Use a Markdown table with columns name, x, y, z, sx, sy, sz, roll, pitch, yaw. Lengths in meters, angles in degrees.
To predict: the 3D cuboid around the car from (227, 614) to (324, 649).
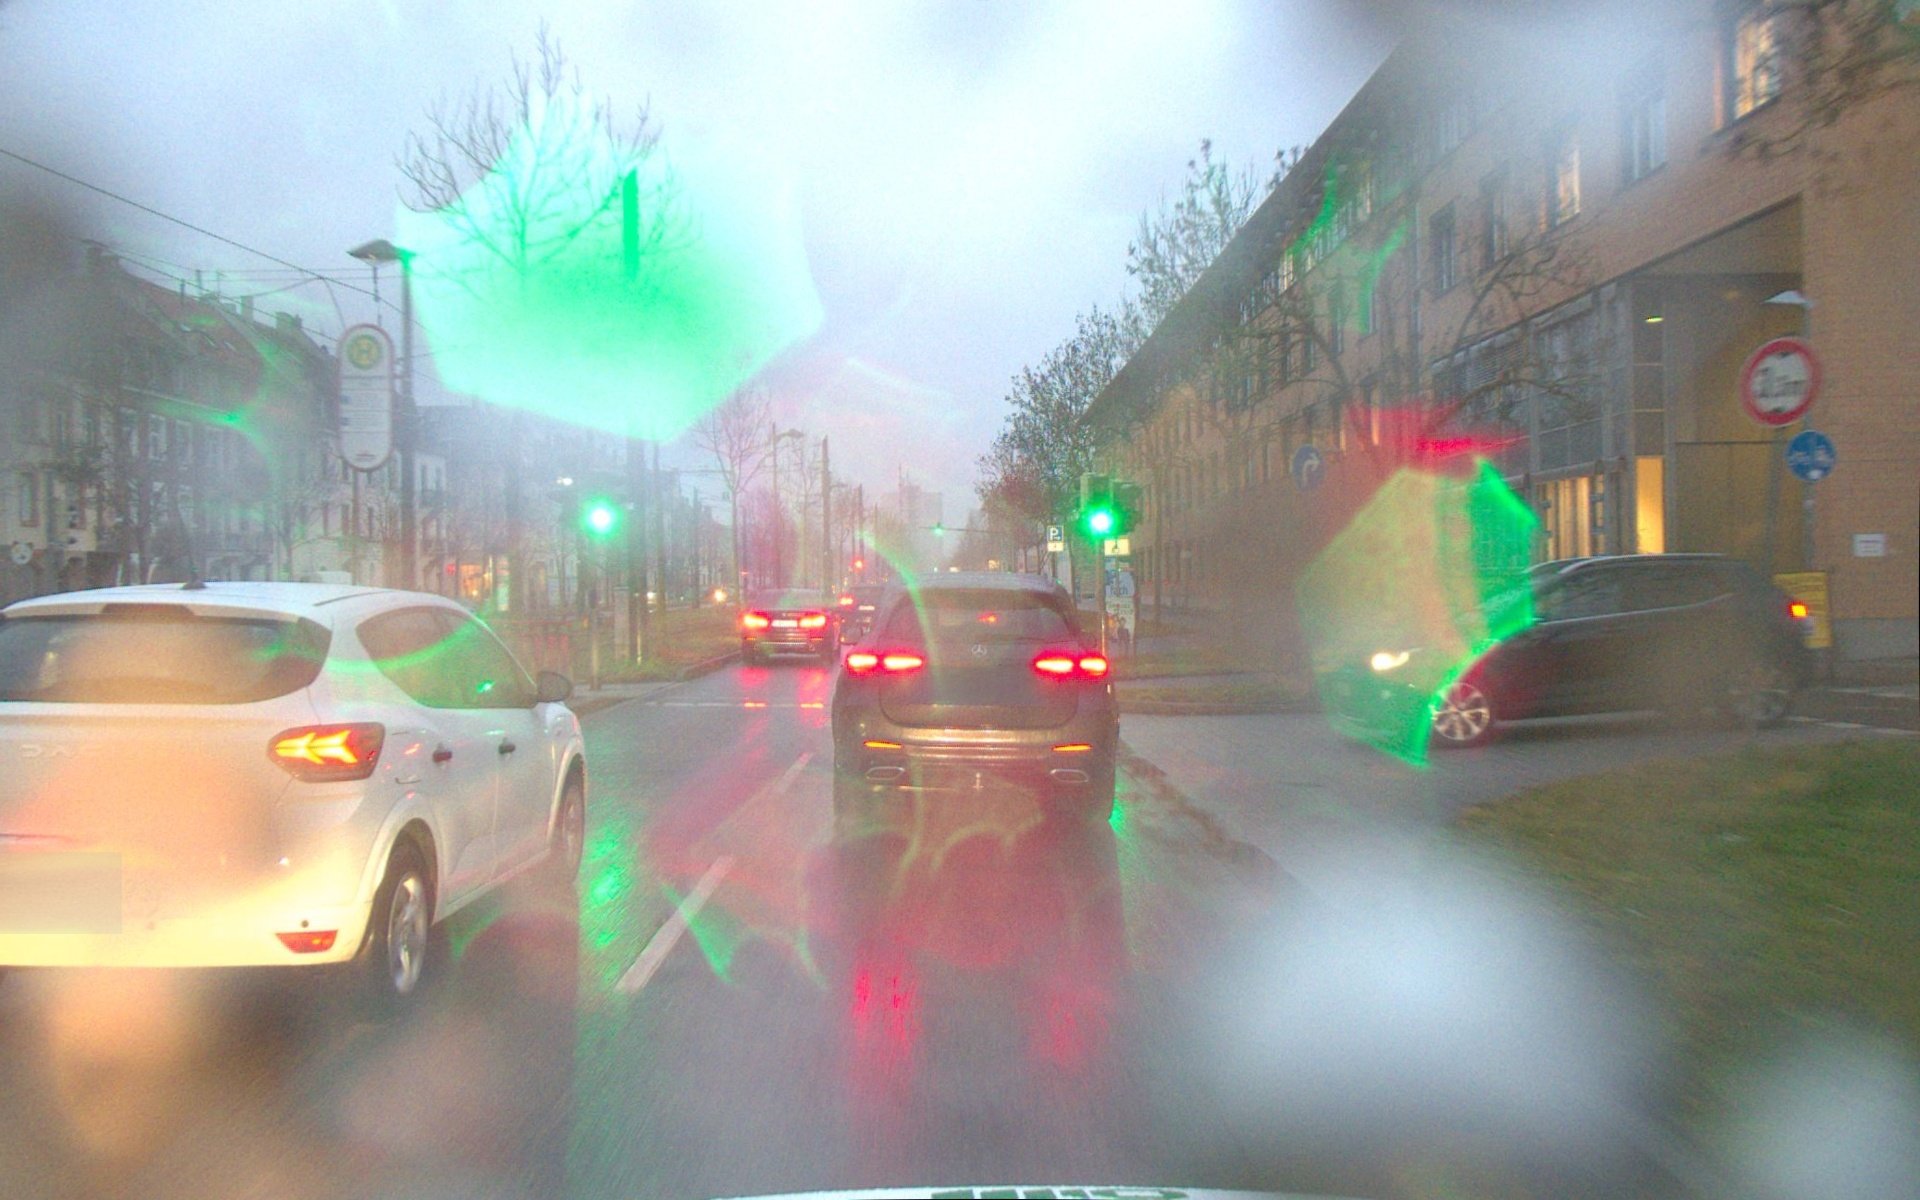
| name | x | y | z | sx | sy | sz | roll | pitch | yaw |
| --- | --- | --- | --- | --- | --- | --- | --- | --- | --- |
| car | -28.305 | 1.297 | 68.388 | 3.921 | 1.355 | 1.992 | -1 | 0 | 37 |

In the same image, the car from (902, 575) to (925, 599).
| name | x | y | z | sx | sy | sz | roll | pitch | yaw |
| --- | --- | --- | --- | --- | --- | --- | --- | --- | --- |
| car | -4.108 | -1.128 | 144.915 | 1.953 | 1.948 | 3.998 | -2 | 1 | -2 |

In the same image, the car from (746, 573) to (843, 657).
| name | x | y | z | sx | sy | sz | roll | pitch | yaw |
| --- | --- | --- | --- | --- | --- | --- | --- | --- | --- |
| car | -3.366 | 0.279 | 34.258 | 1.638 | 1.628 | 4.053 | 0 | 0 | -1 |

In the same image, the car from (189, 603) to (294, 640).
| name | x | y | z | sx | sy | sz | roll | pitch | yaw |
| --- | --- | --- | --- | --- | --- | --- | --- | --- | --- |
| car | -28.319 | 0.837 | 65.190 | 3.917 | 1.355 | 1.994 | -1 | 0 | 34 |

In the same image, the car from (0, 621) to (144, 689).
| name | x | y | z | sx | sy | sz | roll | pitch | yaw |
| --- | --- | --- | --- | --- | --- | --- | --- | --- | --- |
| car | -22.486 | 1.344 | 41.380 | 1.826 | 1.478 | 4.699 | -2 | 0 | -1 |

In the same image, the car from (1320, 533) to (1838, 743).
| name | x | y | z | sx | sy | sz | roll | pitch | yaw |
| --- | --- | --- | --- | --- | --- | --- | --- | --- | --- |
| car | 5.361 | 0.311 | 14.687 | 3.905 | 1.582 | 1.742 | -3 | 0 | 0 |

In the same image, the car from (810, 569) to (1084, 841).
| name | x | y | z | sx | sy | sz | roll | pitch | yaw |
| --- | --- | --- | --- | --- | --- | --- | --- | --- | --- |
| car | -0.092 | 0.616 | 11.937 | 1.638 | 1.628 | 4.053 | 0 | 0 | -1 |

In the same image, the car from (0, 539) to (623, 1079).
| name | x | y | z | sx | sy | sz | roll | pitch | yaw |
| --- | --- | --- | --- | --- | --- | --- | --- | --- | --- |
| car | -2.647 | 0.615 | 7.016 | 1.638 | 1.628 | 4.053 | 0 | 0 | -1 |

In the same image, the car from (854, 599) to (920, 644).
| name | x | y | z | sx | sy | sz | roll | pitch | yaw |
| --- | --- | --- | --- | --- | --- | --- | --- | --- | --- |
| car | -2.351 | 0.690 | 53.860 | 1.953 | 1.321 | 3.479 | -2 | 0 | 0 |

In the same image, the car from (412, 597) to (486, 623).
| name | x | y | z | sx | sy | sz | roll | pitch | yaw |
| --- | --- | --- | --- | --- | --- | --- | --- | --- | --- |
| car | -28.253 | 0.555 | 91.425 | 3.921 | 1.355 | 1.992 | -1 | 0 | 37 |

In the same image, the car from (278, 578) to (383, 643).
| name | x | y | z | sx | sy | sz | roll | pitch | yaw |
| --- | --- | --- | --- | --- | --- | --- | --- | --- | --- |
| car | -28.775 | 0.495 | 75.472 | 5.760 | 2.846 | 1.989 | -1 | 0 | 41 |

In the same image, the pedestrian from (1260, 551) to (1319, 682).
| name | x | y | z | sx | sy | sz | roll | pitch | yaw |
| --- | --- | --- | --- | --- | --- | --- | --- | --- | --- |
| pedestrian | 4.793 | 0.234 | 24.056 | 0.498 | 1.856 | 0.652 | -2 | 0 | -26 |

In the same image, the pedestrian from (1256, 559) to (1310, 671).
| name | x | y | z | sx | sy | sz | roll | pitch | yaw |
| --- | --- | --- | --- | --- | --- | --- | --- | --- | --- |
| pedestrian | 5.191 | 0.238 | 26.608 | 0.499 | 1.772 | 0.650 | -2 | 0 | -33 |

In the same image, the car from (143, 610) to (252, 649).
| name | x | y | z | sx | sy | sz | roll | pitch | yaw |
| --- | --- | --- | --- | --- | --- | --- | --- | --- | --- |
| car | -28.520 | 1.105 | 61.808 | 3.918 | 1.355 | 1.993 | -1 | 0 | 35 |

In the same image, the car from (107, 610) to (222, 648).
| name | x | y | z | sx | sy | sz | roll | pitch | yaw |
| --- | --- | --- | --- | --- | --- | --- | --- | --- | --- |
| car | -27.173 | 0.983 | 56.470 | 3.922 | 1.189 | 1.992 | -1 | 1 | 38 |

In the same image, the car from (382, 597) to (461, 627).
| name | x | y | z | sx | sy | sz | roll | pitch | yaw |
| --- | --- | --- | --- | --- | --- | --- | --- | --- | --- |
| car | -28.753 | 0.657 | 88.319 | 3.917 | 1.512 | 1.994 | -1 | 0 | 34 |
